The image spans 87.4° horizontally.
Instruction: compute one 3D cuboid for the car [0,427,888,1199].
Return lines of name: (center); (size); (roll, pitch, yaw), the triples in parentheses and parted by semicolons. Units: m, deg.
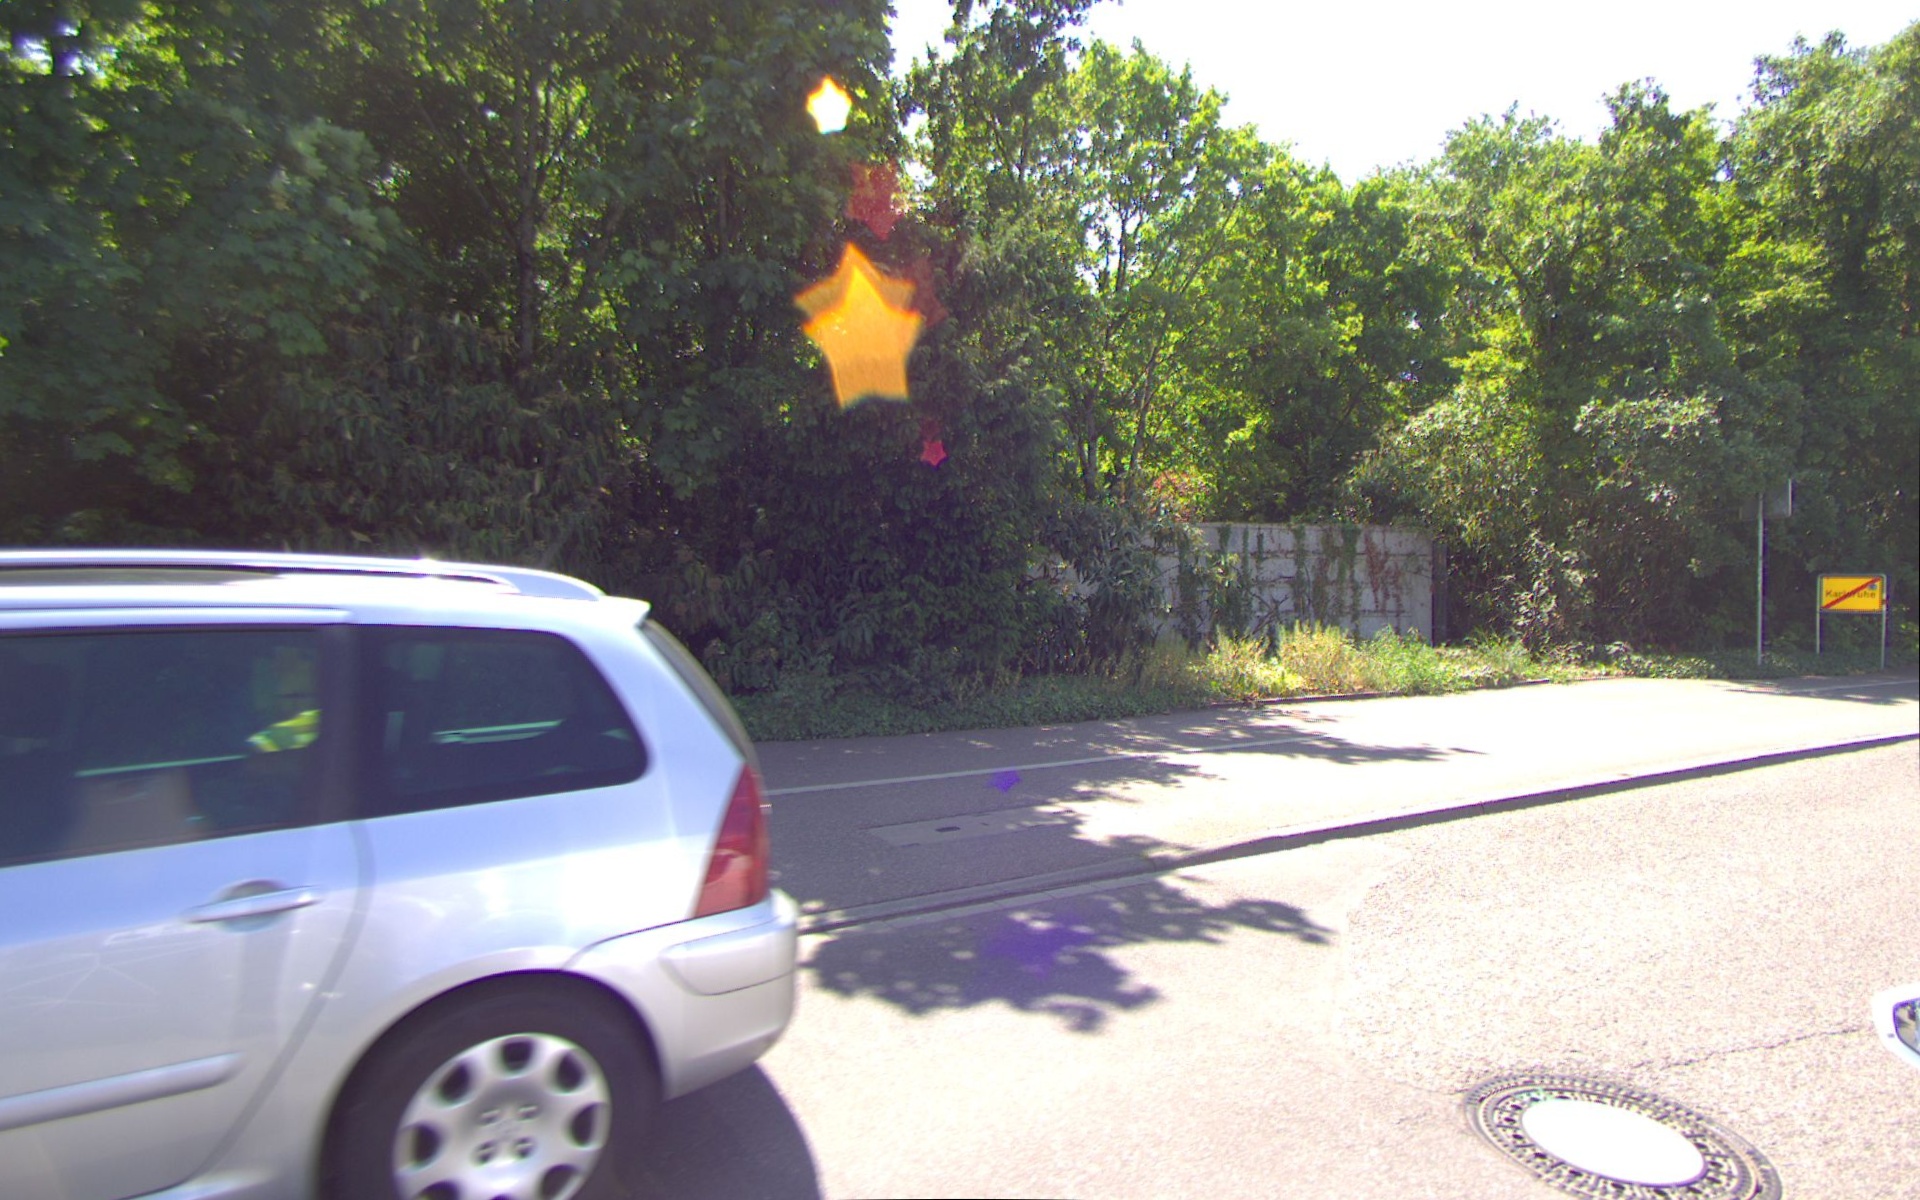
car: (-2.464, 0.519, 2.332); (4.219, 1.593, 1.784); (-1, 0, -29)
